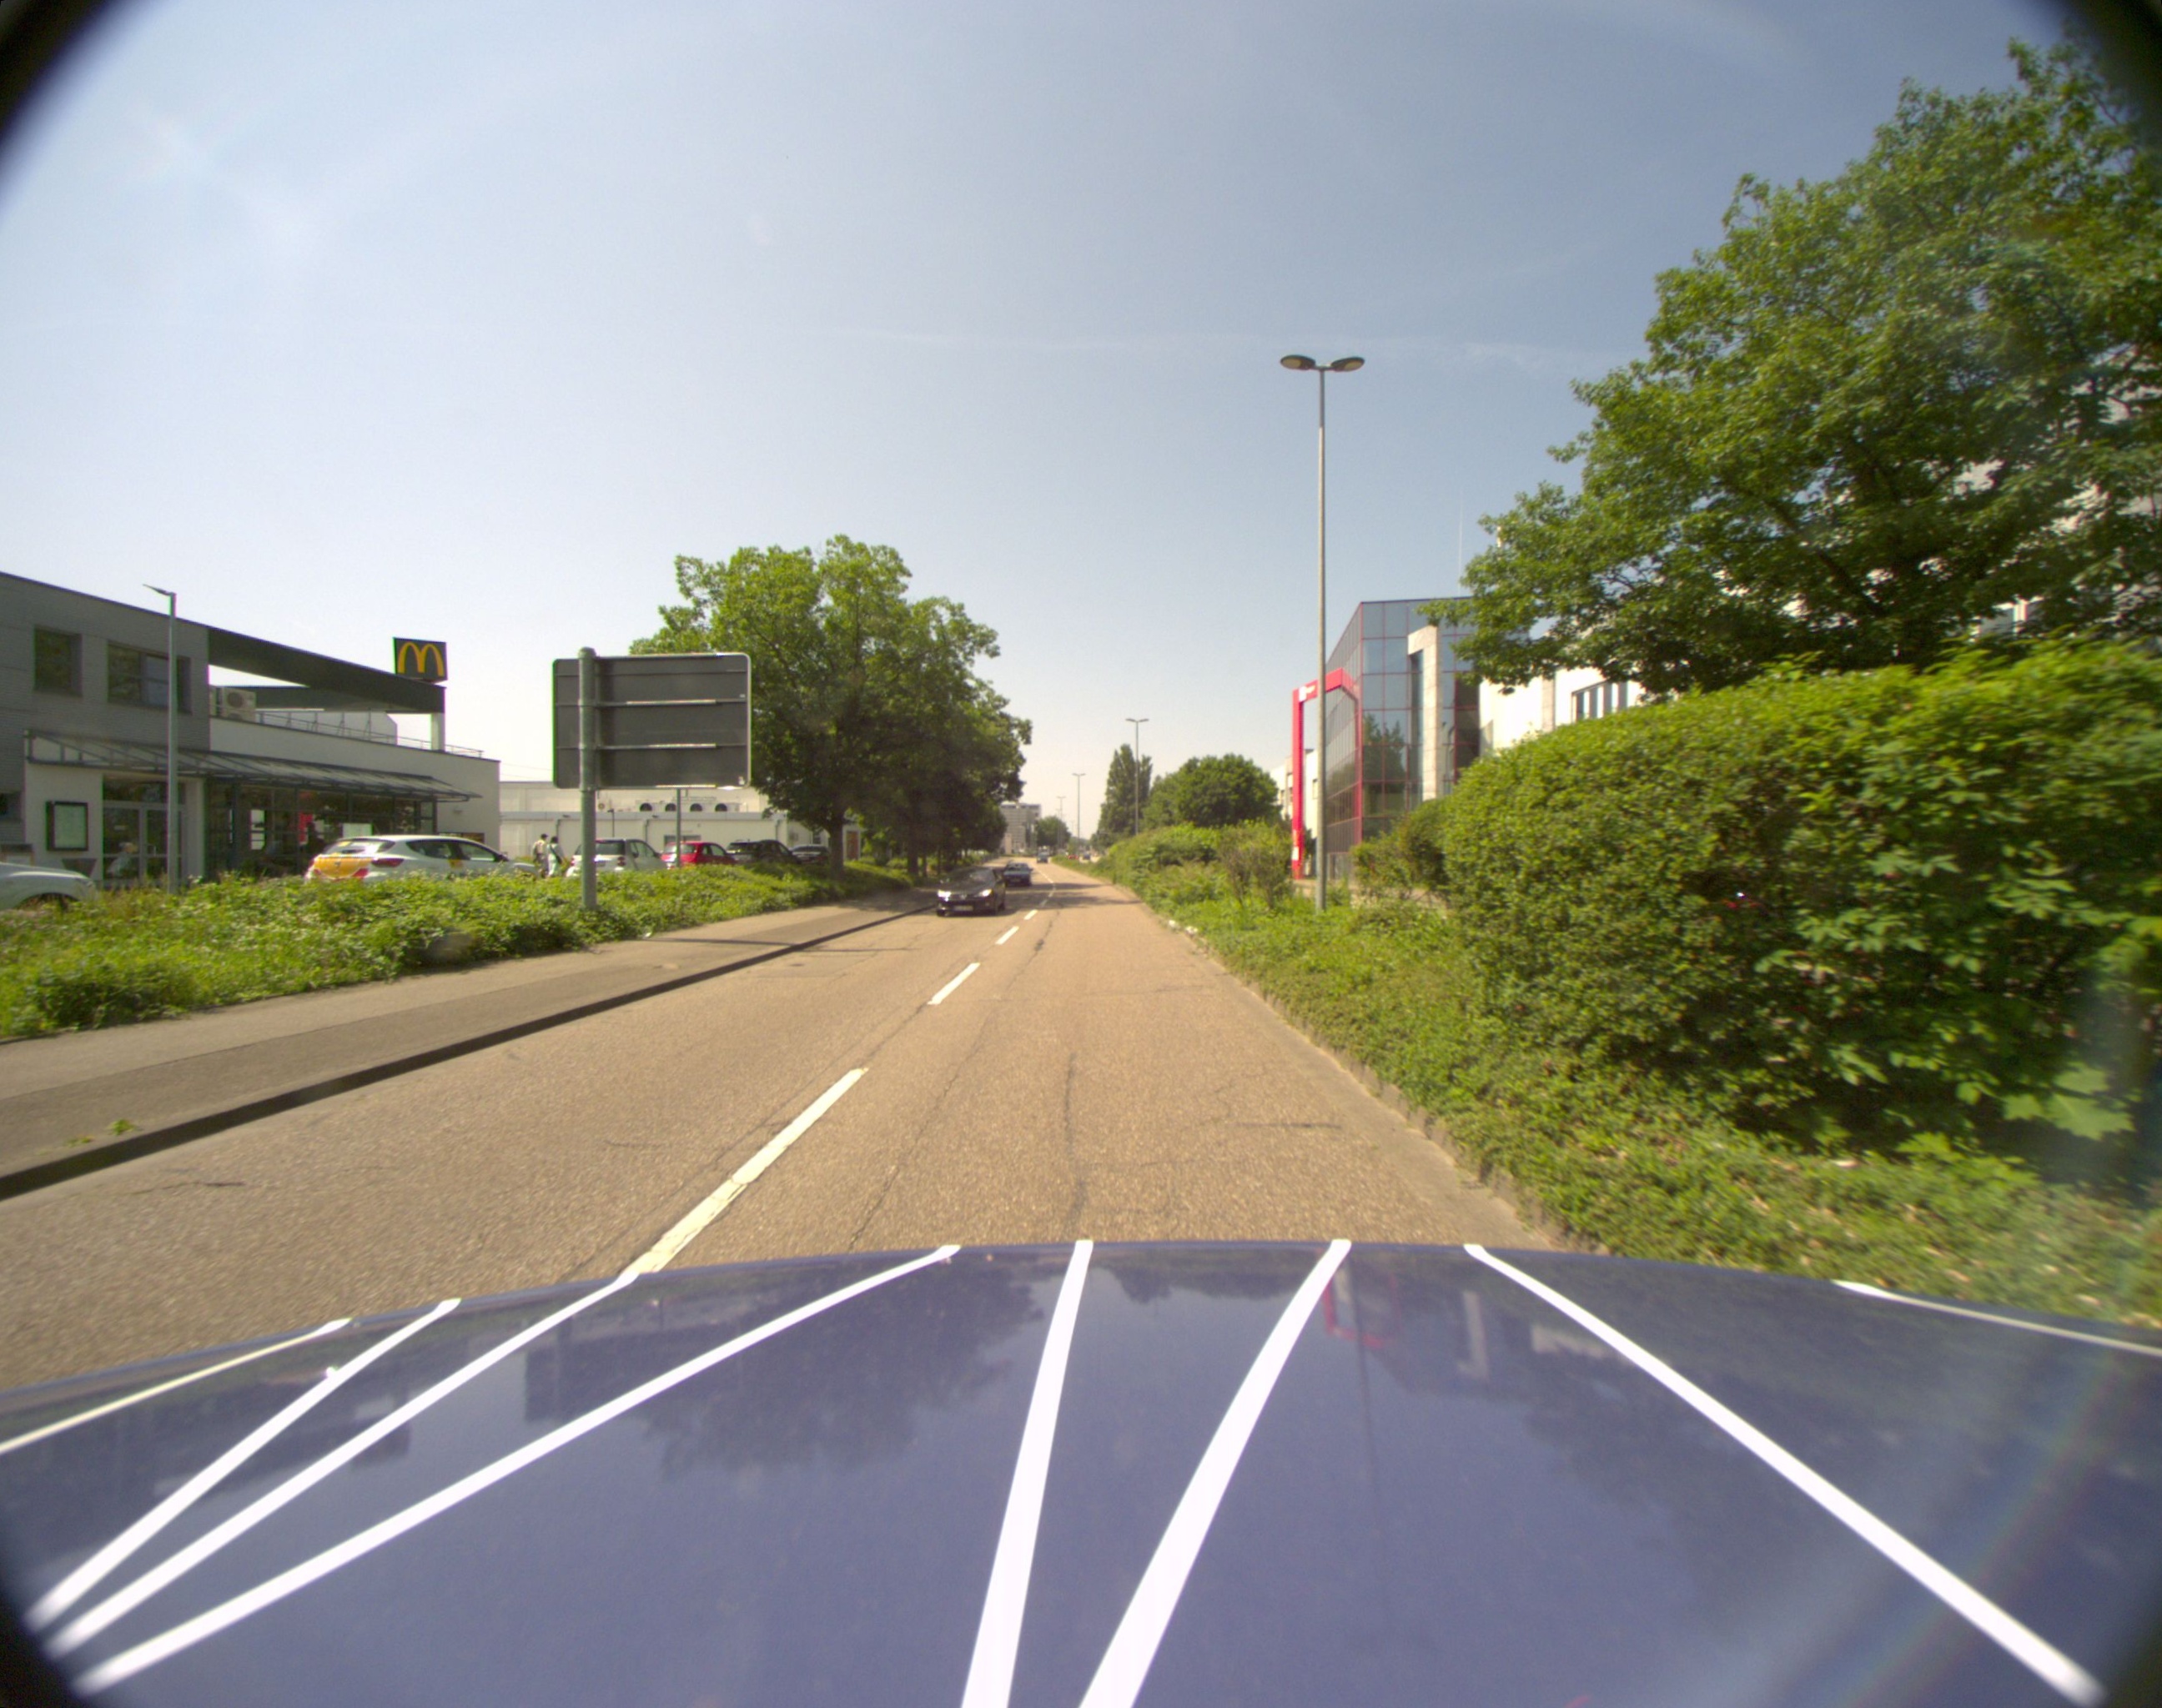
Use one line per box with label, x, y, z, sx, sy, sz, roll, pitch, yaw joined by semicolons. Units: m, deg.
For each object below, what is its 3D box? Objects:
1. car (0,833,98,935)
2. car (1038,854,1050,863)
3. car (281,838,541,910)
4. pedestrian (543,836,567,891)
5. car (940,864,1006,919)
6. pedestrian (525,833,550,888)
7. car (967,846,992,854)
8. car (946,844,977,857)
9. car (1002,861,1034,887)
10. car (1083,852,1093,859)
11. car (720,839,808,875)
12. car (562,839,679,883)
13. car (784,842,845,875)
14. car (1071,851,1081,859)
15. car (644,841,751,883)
car;-12.951;0.366;7.485;1.597;1.151;3.737;-1;1;1
car;-5.650;0.650;117.208;1.868;1.390;3.999;1;0;-2
car;-13.205;0.322;15.343;1.622;1.245;3.867;-1;1;4
pedestrian;-18.459;0.326;26.655;0.467;1.910;0.534;1;1;1
car;-3.075;1.038;22.223;1.641;1.349;3.498;-1;1;-4
pedestrian;-19.059;0.215;26.629;0.583;1.910;0.409;1;1;1
car;-18.939;-0.772;141.611;4.589;1.496;1.697;0;1;-4
car;-18.403;-0.586;116.995;4.629;1.913;1.826;0;1;-3
car;-3.694;1.122;44.470;1.712;1.316;3.953;-1;1;-5
car;1.470;0.224;163.569;1.727;1.408;4.244;2;0;-5
car;-12.561;0.083;30.387;1.623;1.245;4.199;-2;1;1
car;-12.741;0.163;21.187;1.511;1.116;2.855;-1;1;-1
car;-12.961;0.168;37.257;1.912;1.443;5.595;-1;1;-10
car;-0.975;0.184;144.821;1.734;1.316;4.147;1;1;-4
car;-12.561;0.223;25.145;1.623;1.245;3.763;-1;1;0
